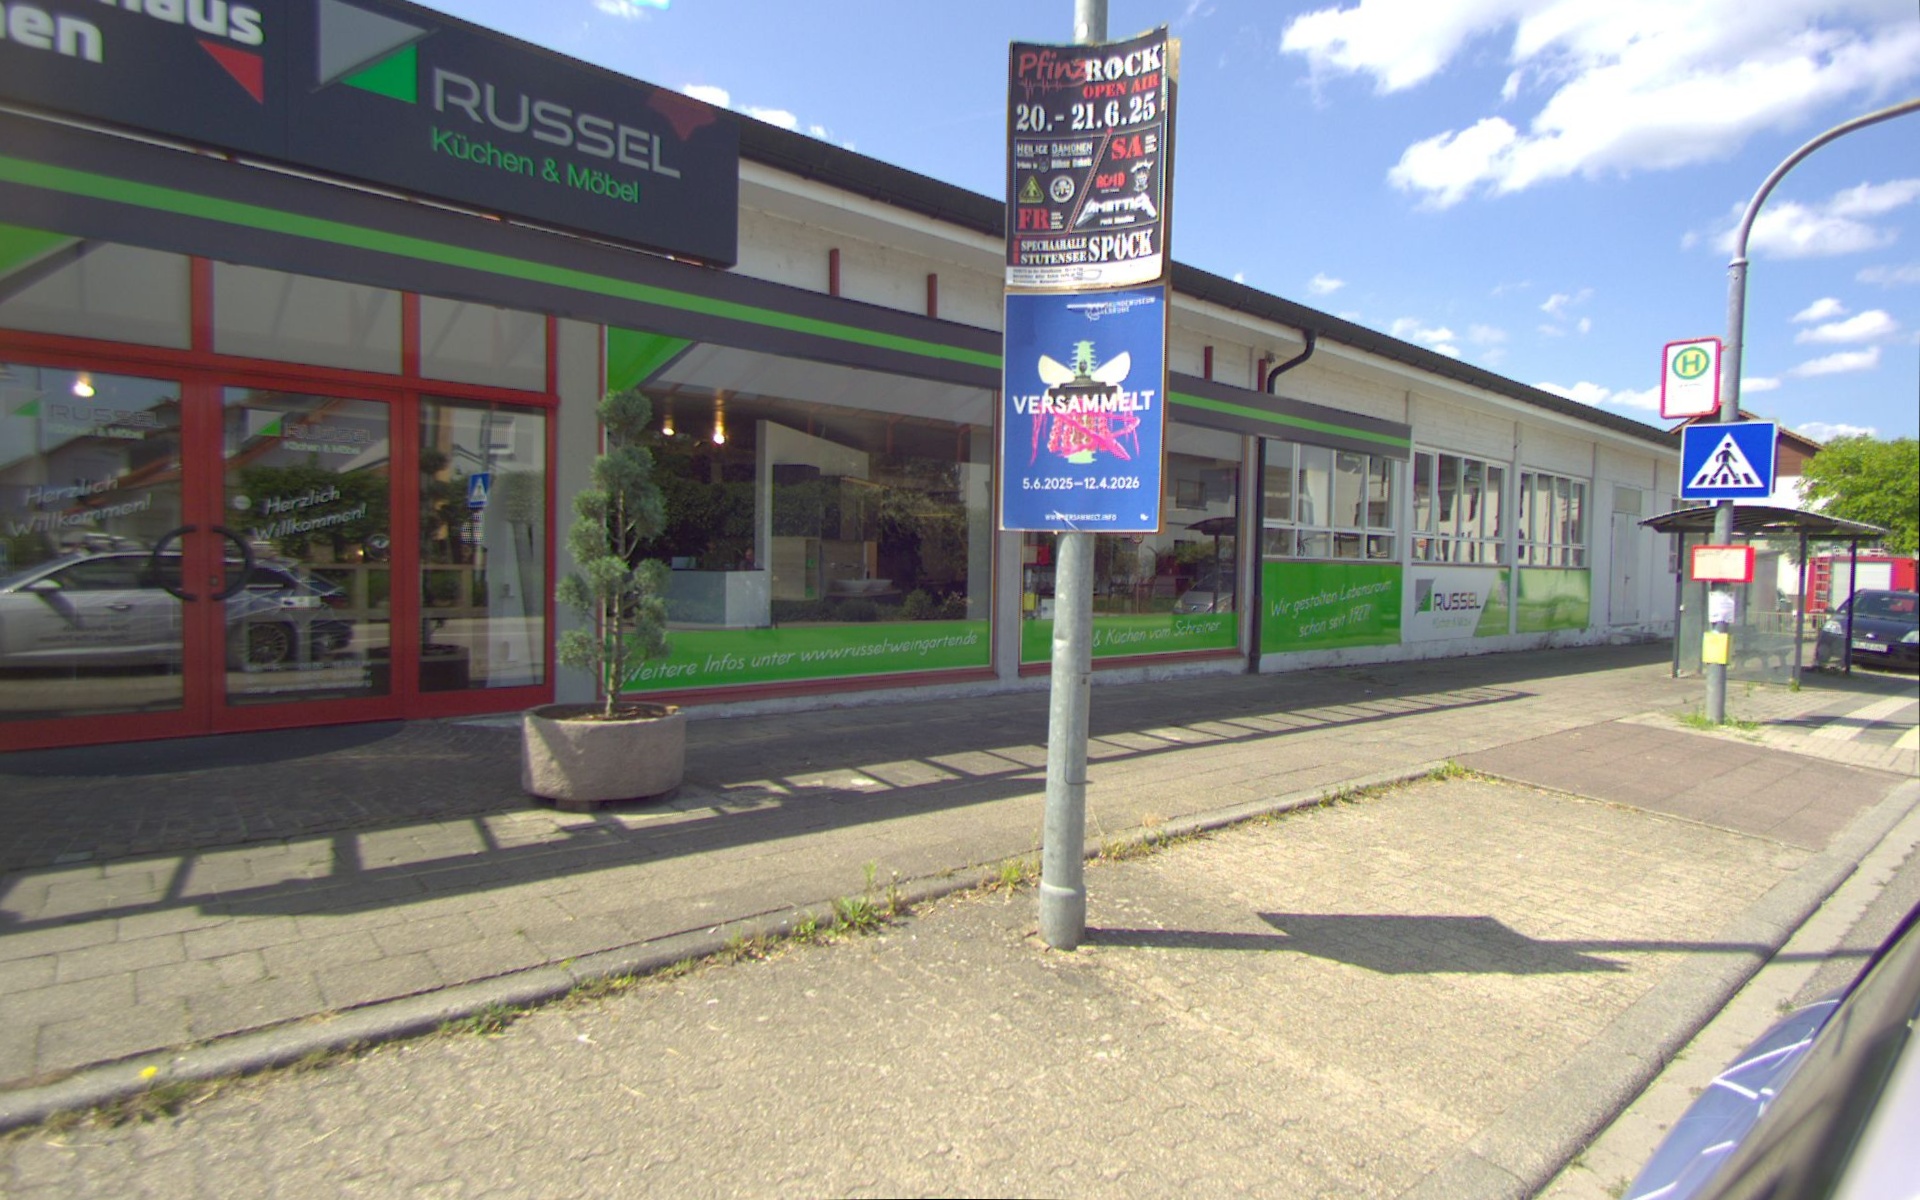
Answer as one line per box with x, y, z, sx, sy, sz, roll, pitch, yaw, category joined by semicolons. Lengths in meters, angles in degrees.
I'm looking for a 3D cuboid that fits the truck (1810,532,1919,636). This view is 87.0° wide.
27.659;-0.516;30.531;2.574;2.795;6.235;5;4;43;truck

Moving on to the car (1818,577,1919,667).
17.863;0.378;19.266;3.694;1.510;1.729;0;4;-41;car
